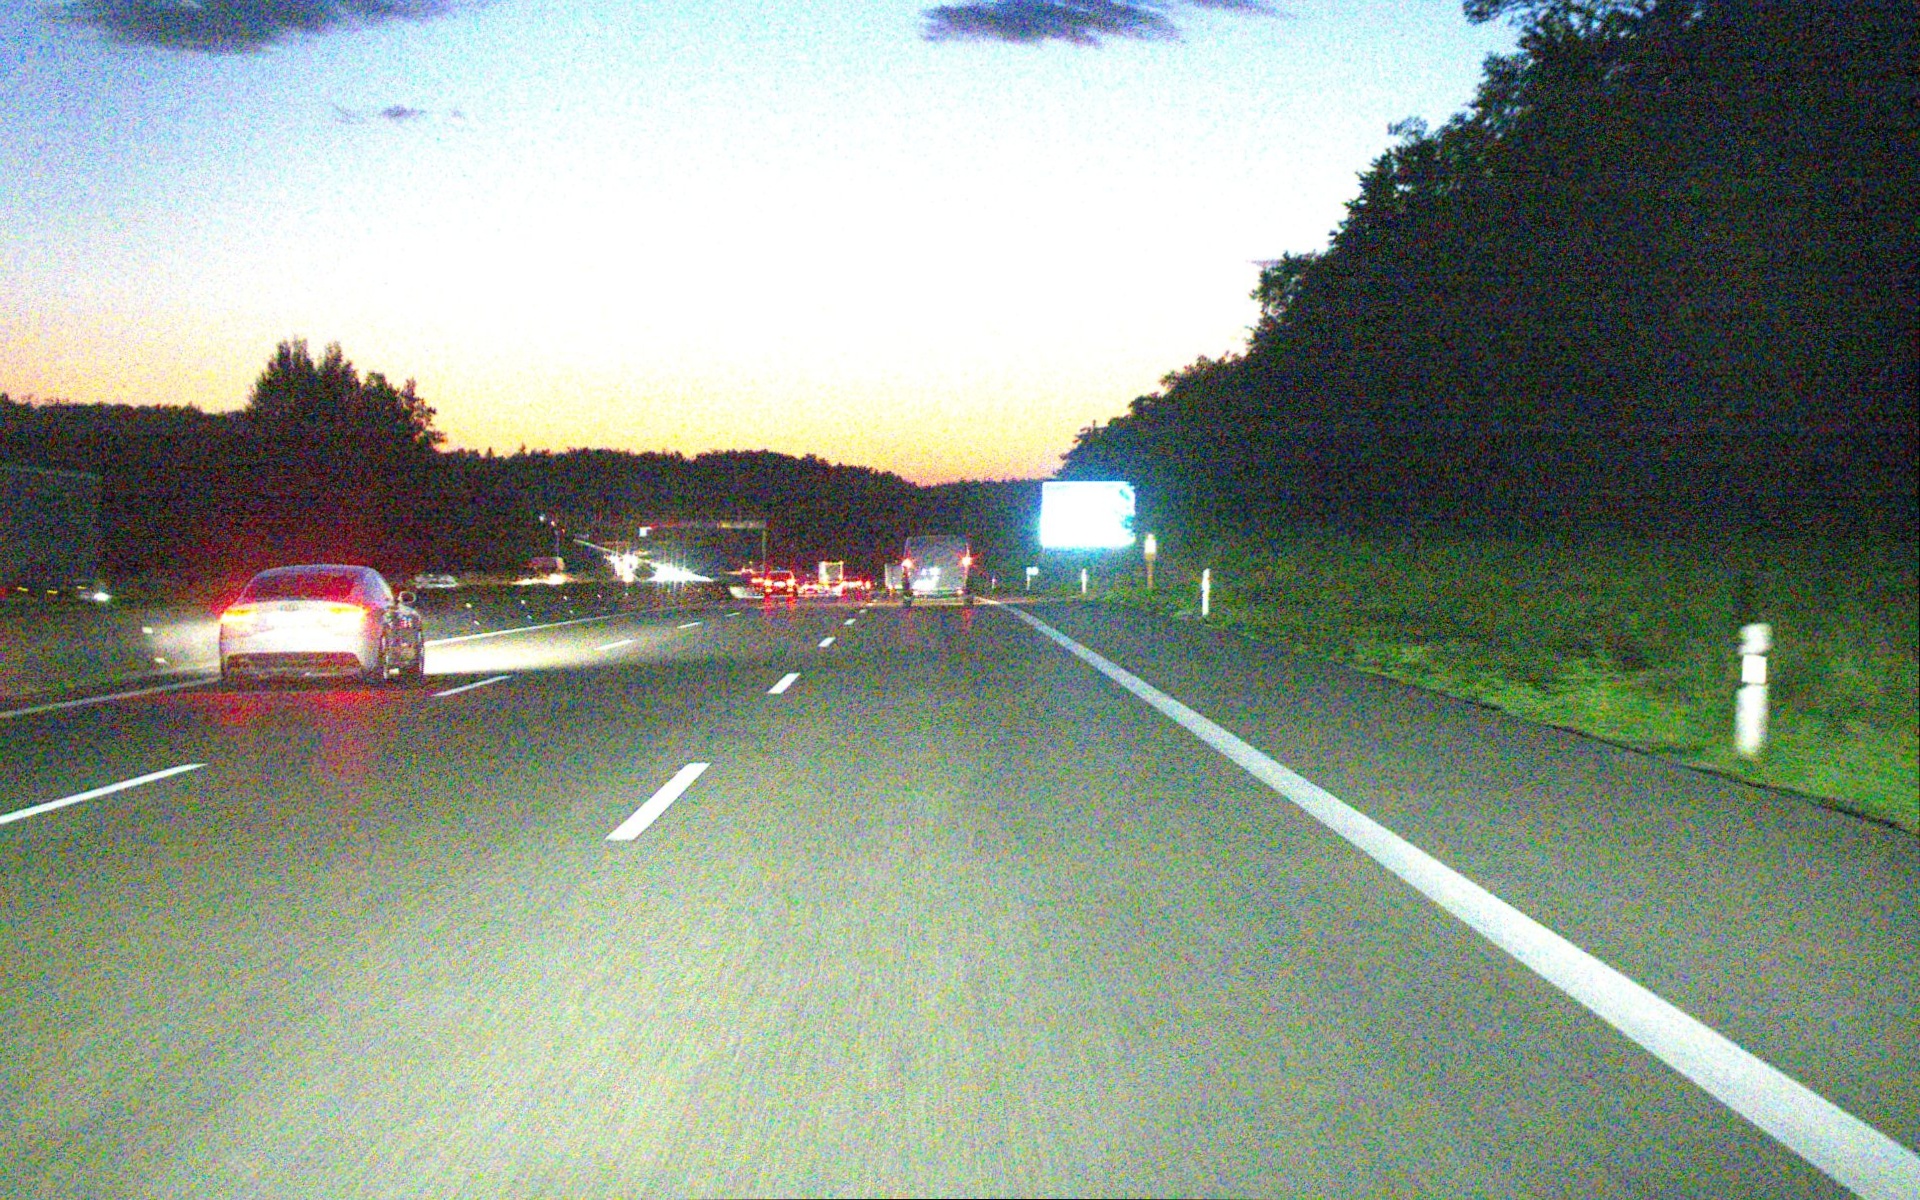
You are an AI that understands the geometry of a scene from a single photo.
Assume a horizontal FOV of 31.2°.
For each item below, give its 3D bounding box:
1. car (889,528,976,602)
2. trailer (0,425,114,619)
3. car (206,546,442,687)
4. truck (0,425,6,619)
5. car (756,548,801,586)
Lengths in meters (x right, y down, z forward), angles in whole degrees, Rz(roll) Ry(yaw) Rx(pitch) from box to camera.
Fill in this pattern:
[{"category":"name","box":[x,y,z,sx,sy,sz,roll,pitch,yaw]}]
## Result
[{"category":"car","box":[-0.744,-1.020,97.060,2.197,1.948,4.763,-2,1,2]},{"category":"trailer","box":[-23.595,-1.815,82.117,3.325,4.418,14.025,-1,1,0]},{"category":"car","box":[-7.321,0.136,40.033,1.779,1.482,5.254,1,1,0]},{"category":"truck","box":[-23.540,-1.701,75.396,3.325,4.418,6.708,-1,1,0]},{"category":"car","box":[-9.852,-1.804,186.954,2.196,1.949,4.634,1,1,0]}]
